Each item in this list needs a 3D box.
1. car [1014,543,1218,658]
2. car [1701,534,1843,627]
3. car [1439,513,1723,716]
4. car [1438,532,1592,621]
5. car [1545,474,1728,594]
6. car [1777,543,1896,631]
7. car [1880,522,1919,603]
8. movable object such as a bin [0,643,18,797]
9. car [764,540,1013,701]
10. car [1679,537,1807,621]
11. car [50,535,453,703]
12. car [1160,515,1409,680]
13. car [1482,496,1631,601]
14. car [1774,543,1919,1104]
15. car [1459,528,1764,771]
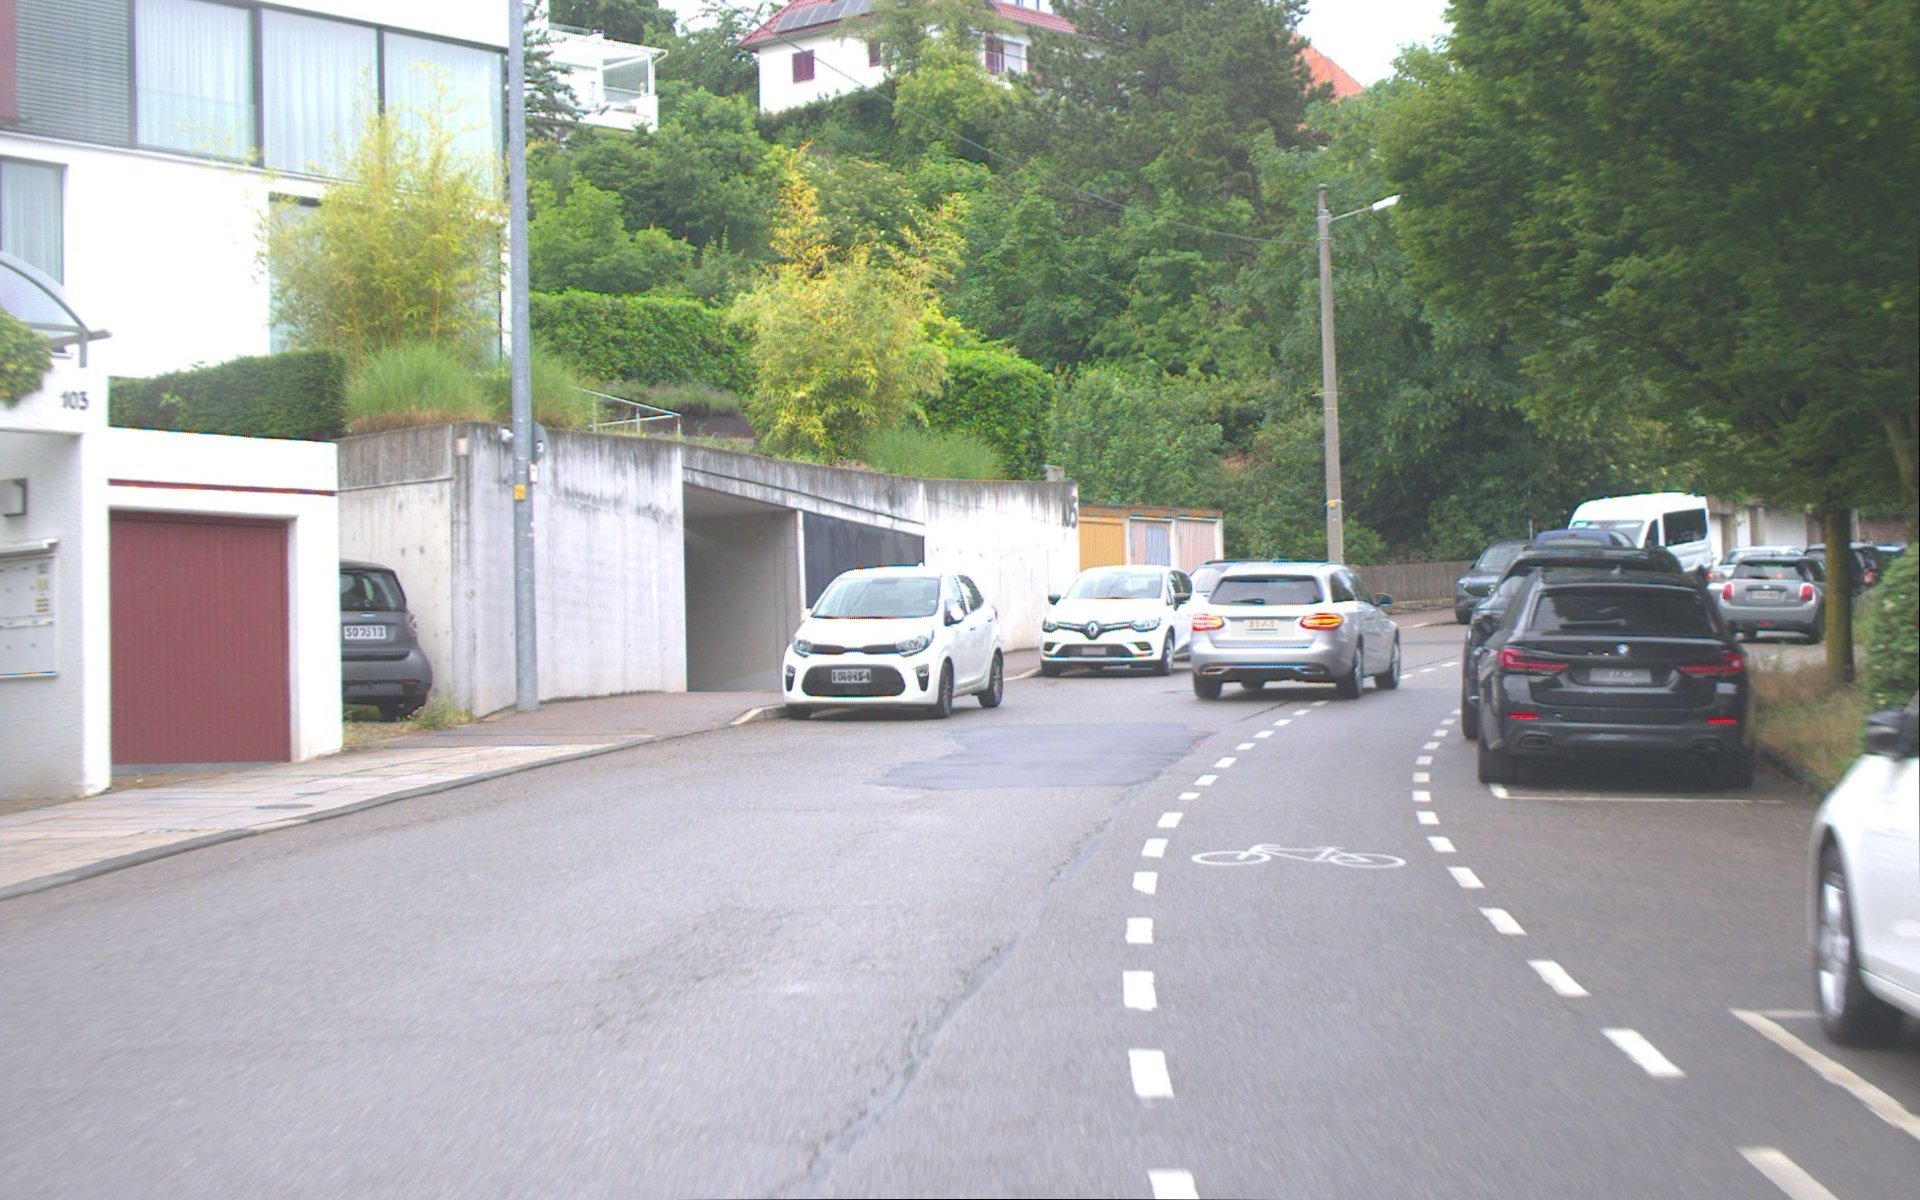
[{"bbox_3d":[2.160,-0.020,46.370,1.833,1.435,4.037,-1,1,16],"label":"car"},{"bbox_3d":[13.439,-0.347,56.776,1.670,1.466,3.706,1,1,23],"label":"car"},{"bbox_3d":[5.653,0.084,30.773,2.055,1.650,5.232,-1,1,15],"label":"car"},{"bbox_3d":[11.258,-0.497,69.505,1.898,1.685,4.540,-2,1,24],"label":"car"},{"bbox_3d":[15.200,-1.517,76.987,2.097,2.541,6.087,-1,1,30],"label":"car"},{"bbox_3d":[16.103,-0.254,63.088,1.629,1.557,3.018,0,1,24],"label":"car"},{"bbox_3d":[18.892,-0.747,66.089,1.656,1.514,3.995,1,2,25],"label":"car"},{"bbox_3d":[-6.343,0.755,21.535,0.544,0.960,0.644,0,1,38],"label":"movable object such as a bin"},{"bbox_3d":[-0.665,0.170,34.934,1.628,1.510,3.830,-1,1,13],"label":"car"},{"bbox_3d":[16.397,-0.456,71.874,1.996,1.702,3.995,0,1,22],"label":"car"},{"bbox_3d":[-6.864,0.141,33.132,3.928,1.473,1.764,2,2,41],"label":"car"},{"bbox_3d":[3.635,-0.048,37.858,2.026,1.702,4.212,0,1,15],"label":"car"},{"bbox_3d":[10.180,-0.871,58.495,1.995,1.702,3.997,0,1,17],"label":"car"},{"bbox_3d":[3.381,0.602,9.095,1.657,1.484,4.000,1,1,3],"label":"car"},{"bbox_3d":[4.618,0.295,24.958,1.855,1.575,4.856,-1,1,7],"label":"car"}]
